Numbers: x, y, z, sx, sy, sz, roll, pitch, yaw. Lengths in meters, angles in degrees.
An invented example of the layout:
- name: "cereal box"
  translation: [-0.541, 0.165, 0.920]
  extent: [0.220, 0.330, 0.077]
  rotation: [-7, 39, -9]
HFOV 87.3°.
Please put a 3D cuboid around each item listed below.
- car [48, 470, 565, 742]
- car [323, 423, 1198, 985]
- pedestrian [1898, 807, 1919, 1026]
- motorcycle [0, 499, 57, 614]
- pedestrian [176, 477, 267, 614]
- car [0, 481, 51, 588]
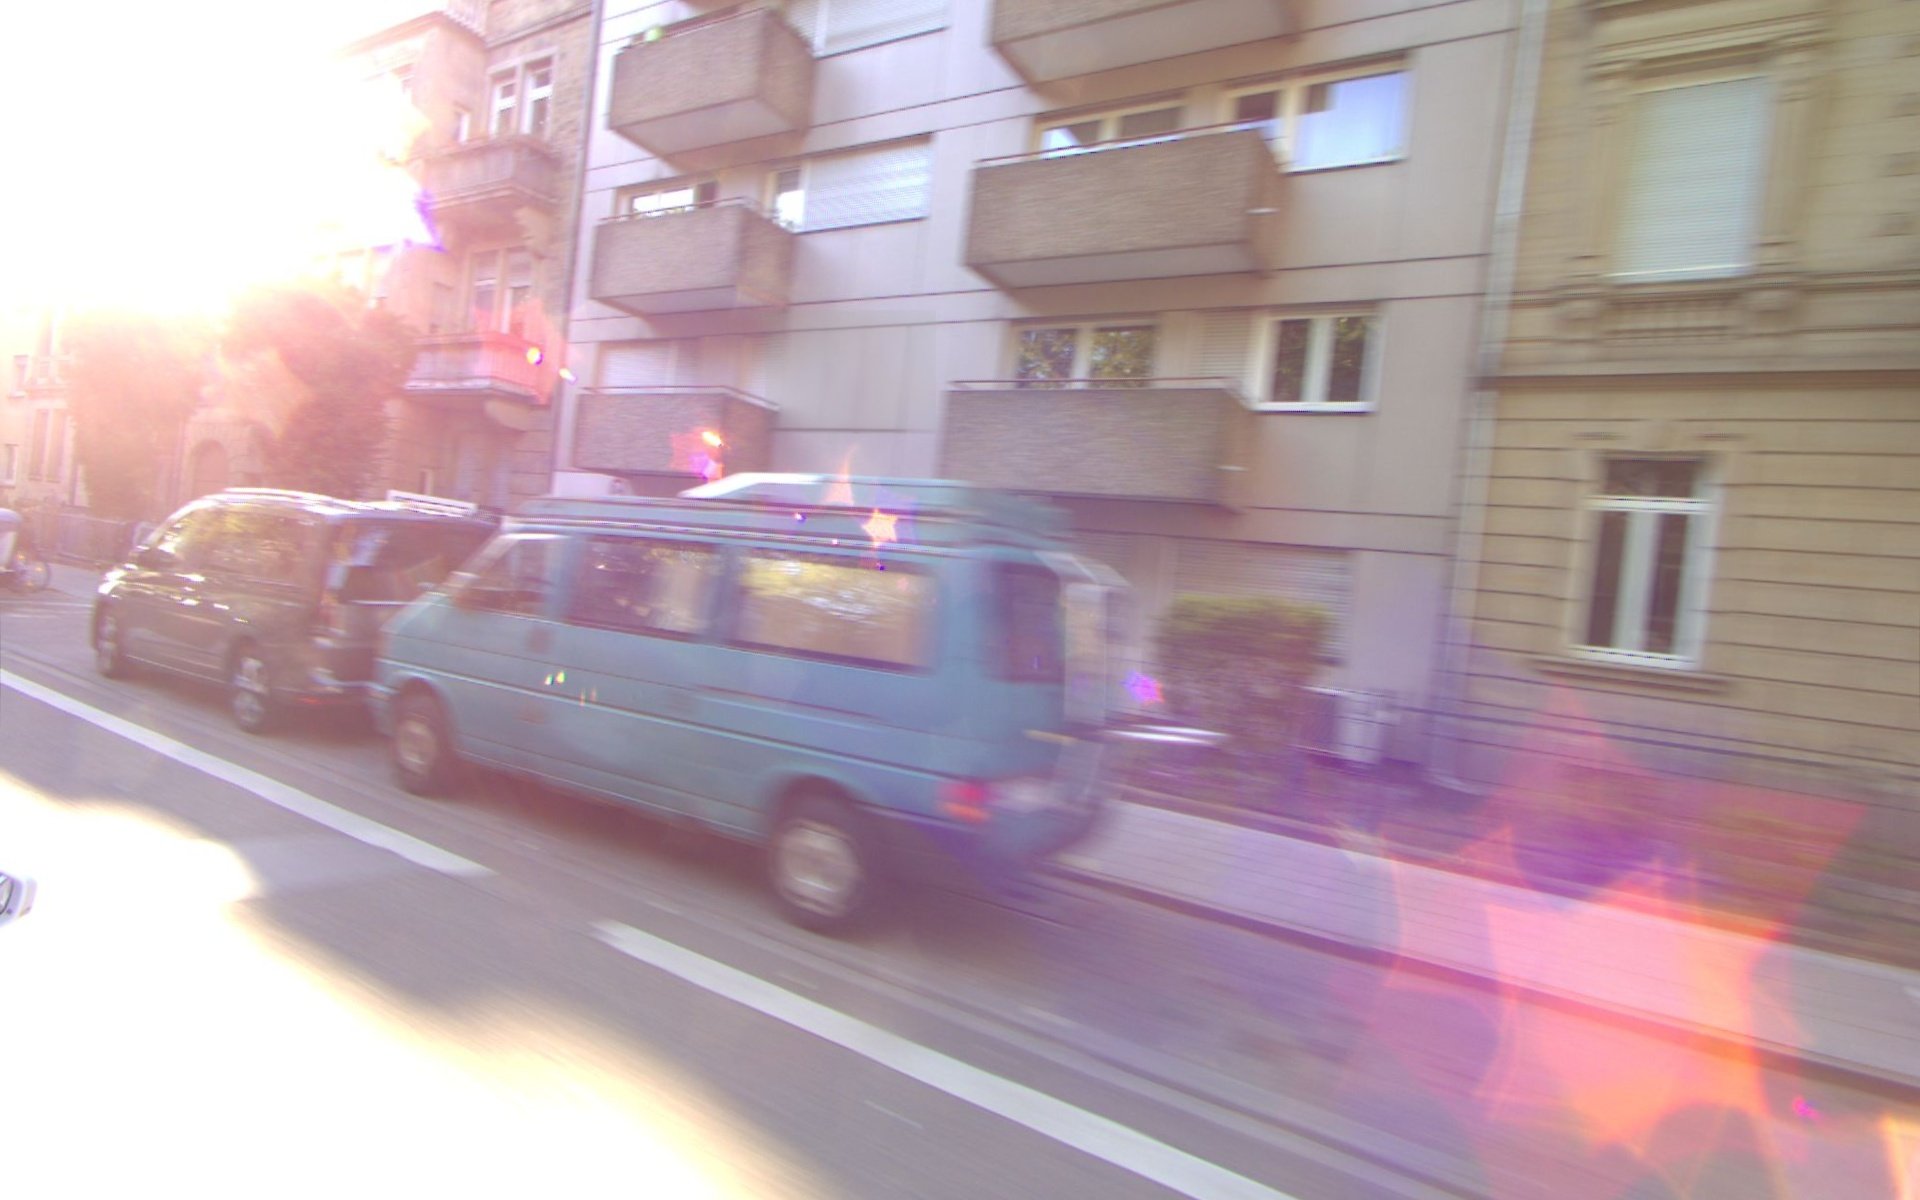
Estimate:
- name: "car"
  translation: [-6.064, -0.036, 9.202]
  extent: [4.678, 1.852, 1.996]
  rotation: [6, -1, 31]
- name: "car"
  translation: [-1.444, 0.275, 6.253]
  extent: [5.148, 2.285, 1.996]
  rotation: [6, -1, 31]
- name: "pedestrian"
  translation: [5.013, 1.230, 4.525]
  extent: [0.907, 1.648, 0.664]
  rotation: [6, 0, 32]
- name: "motorcycle"
  translation: [-13.120, -0.659, 13.193]
  extent: [2.335, 1.417, 0.825]
  rotation: [7, 2, 19]
- name: "pedestrian"
  translation: [-11.205, -0.820, 15.274]
  extent: [0.801, 1.961, 0.711]
  rotation: [7, 1, 32]
- name: "car"
  translation: [-16.422, -1.207, 15.832]
  extent: [3.914, 1.579, 1.997]
  rotation: [6, -1, 31]
